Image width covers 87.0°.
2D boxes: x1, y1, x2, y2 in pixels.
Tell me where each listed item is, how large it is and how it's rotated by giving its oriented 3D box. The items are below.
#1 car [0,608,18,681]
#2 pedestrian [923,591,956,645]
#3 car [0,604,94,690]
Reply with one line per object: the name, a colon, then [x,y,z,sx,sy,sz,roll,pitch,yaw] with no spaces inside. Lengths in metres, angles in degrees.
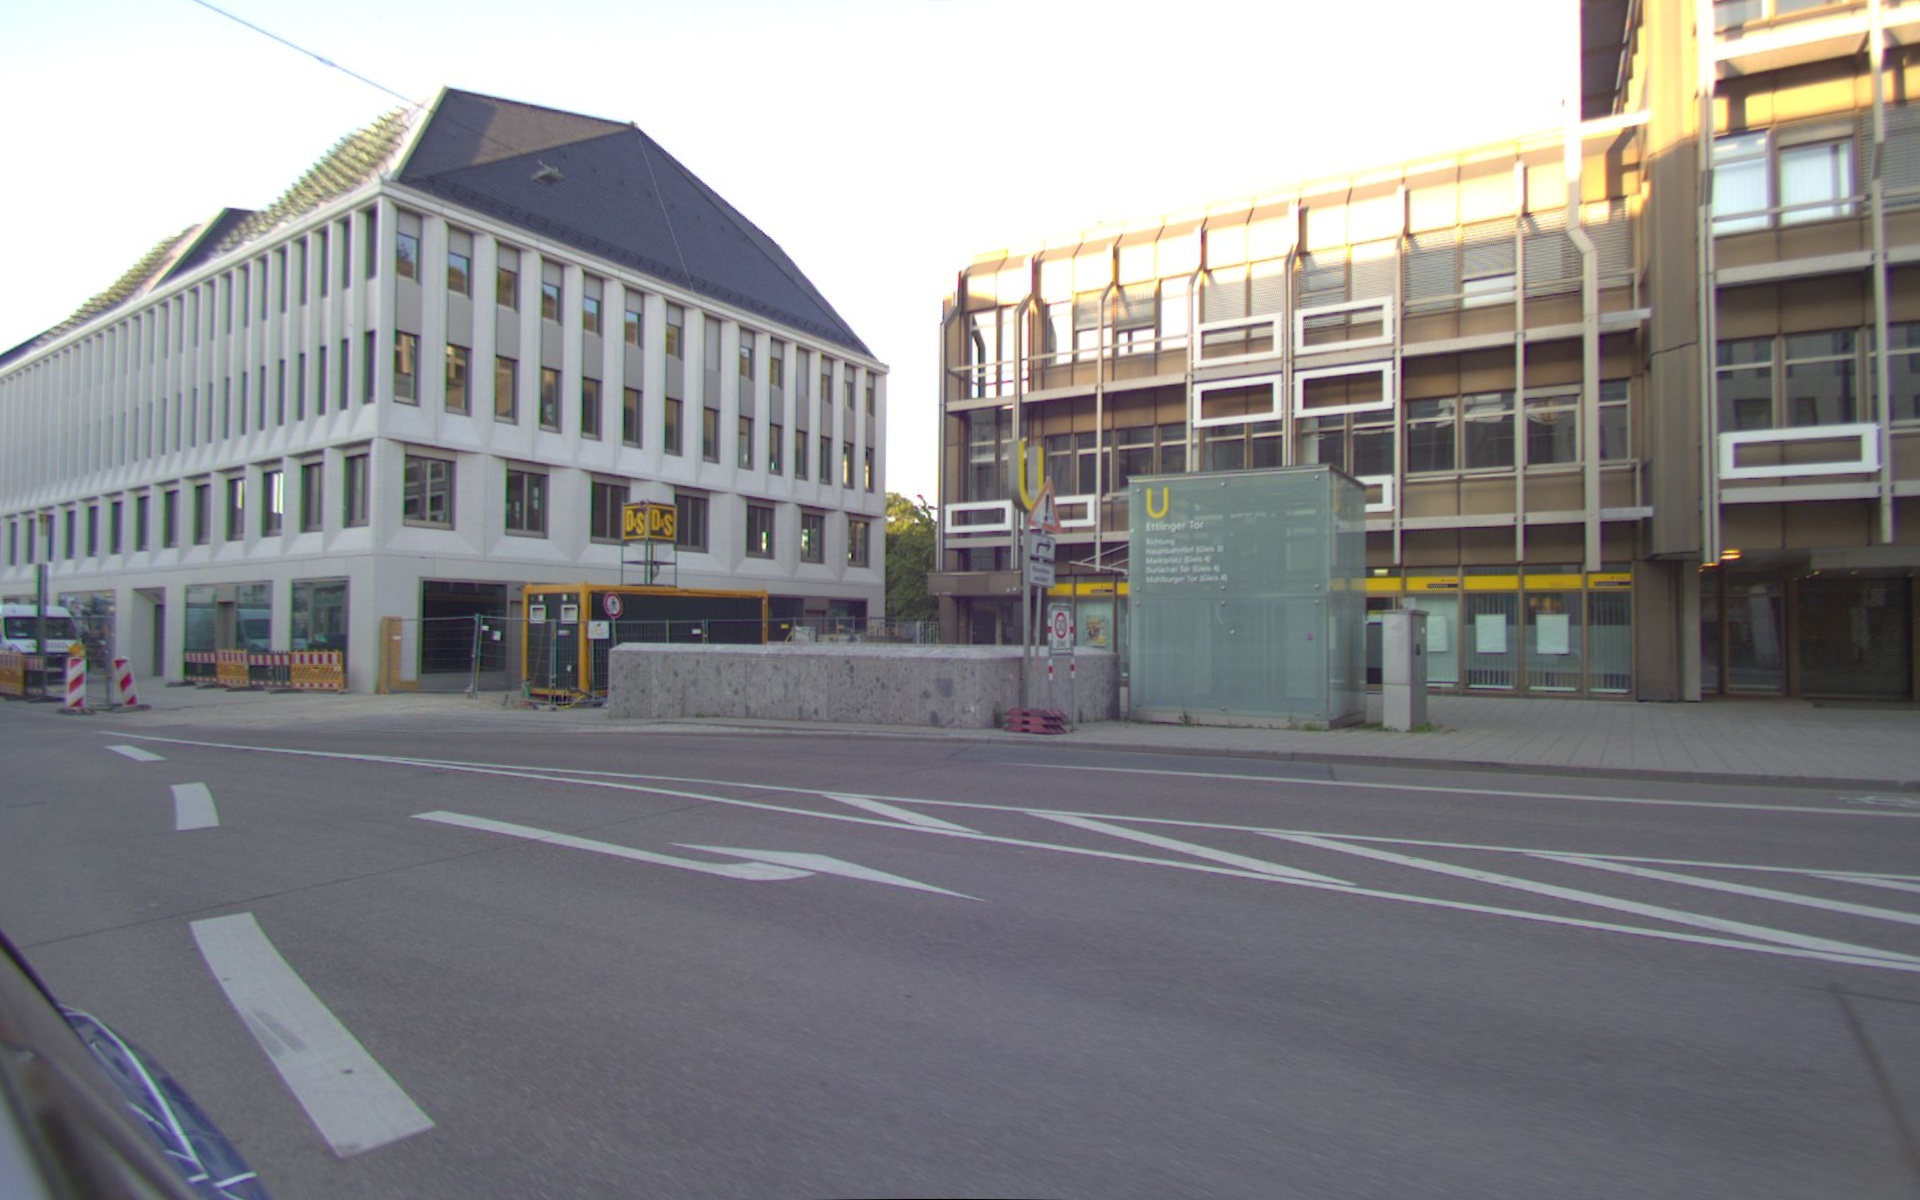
car: [-35.842,1.563,35.950,5.982,2.489,2.155,-1,-2,34]
pedestrian: [-0.793,0.699,38.879,0.943,2.029,0.879,-2,-3,40]
car: [-29.672,1.445,31.808,5.982,2.489,2.156,-1,-2,34]
